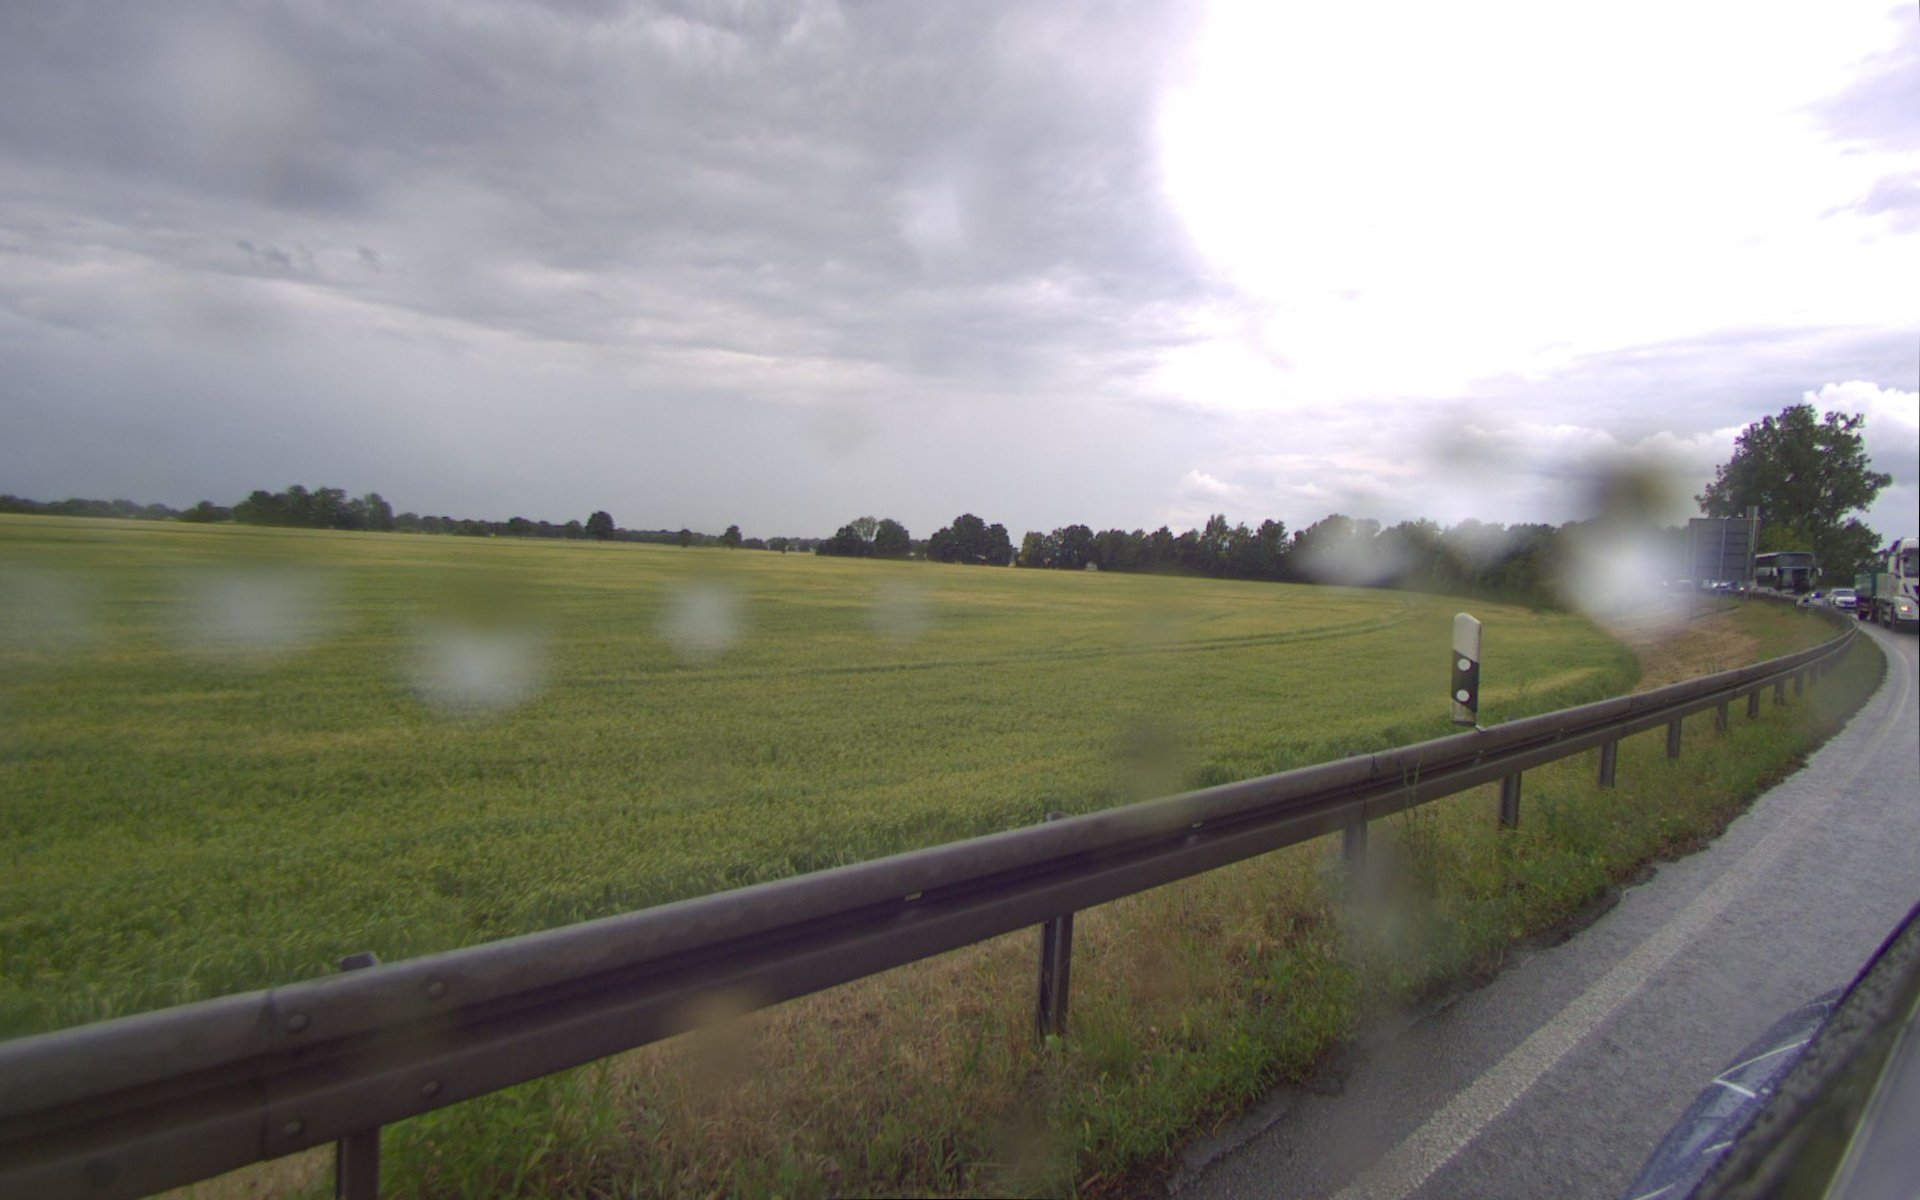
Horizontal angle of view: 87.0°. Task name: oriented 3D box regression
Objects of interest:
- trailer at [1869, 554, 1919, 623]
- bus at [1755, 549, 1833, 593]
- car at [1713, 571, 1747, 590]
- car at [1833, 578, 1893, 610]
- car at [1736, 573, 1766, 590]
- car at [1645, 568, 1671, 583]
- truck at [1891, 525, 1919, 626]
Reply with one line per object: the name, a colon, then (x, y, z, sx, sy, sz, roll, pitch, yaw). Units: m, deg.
trailer: (42.653, -0.536, 44.684, 2.971, 2.666, 15.460, 0, 1, 39)
bus: (69.598, -2.421, 84.759, 2.942, 3.353, 14.675, 0, 1, 31)
car: (85.611, -2.156, 112.601, 1.979, 2.039, 5.290, 0, 1, 25)
car: (55.084, -0.384, 61.797, 2.029, 1.866, 5.271, 0, 1, 34)
car: (78.722, -1.814, 100.757, 1.800, 1.597, 3.957, 0, 1, 30)
car: (101.076, -3.557, 146.602, 1.974, 2.039, 4.290, 0, 1, 18)
truck: (37.317, -0.917, 38.105, 2.971, 3.655, 5.994, 0, 1, 39)
